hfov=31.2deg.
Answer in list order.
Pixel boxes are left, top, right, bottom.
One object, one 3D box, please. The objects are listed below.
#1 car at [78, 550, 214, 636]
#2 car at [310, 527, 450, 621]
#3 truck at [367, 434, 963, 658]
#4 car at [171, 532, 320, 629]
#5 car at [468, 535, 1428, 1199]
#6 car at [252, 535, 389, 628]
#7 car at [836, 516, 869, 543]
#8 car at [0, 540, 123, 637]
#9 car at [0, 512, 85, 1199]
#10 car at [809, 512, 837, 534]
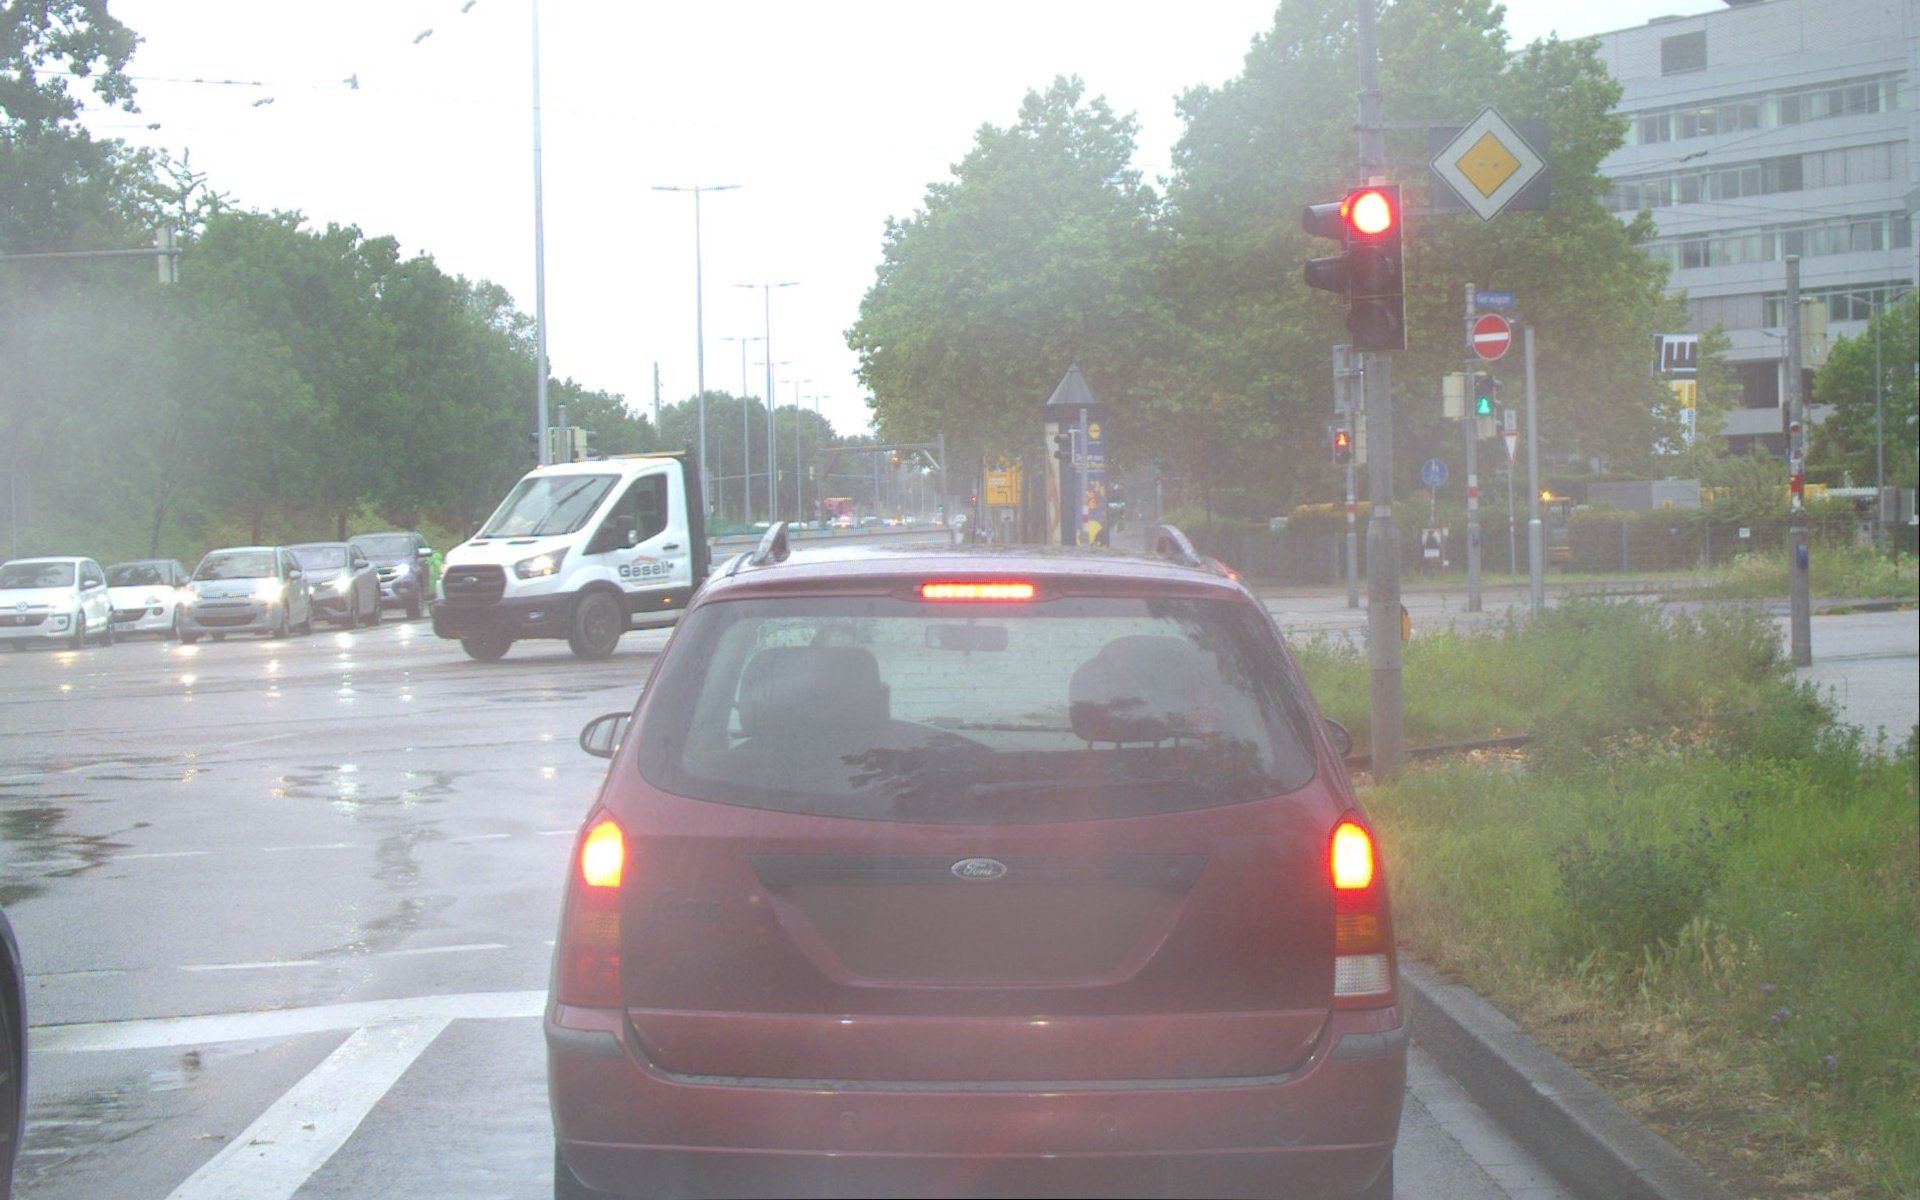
[{"bbox_3d":[-14.509,-0.152,61.435,1.590,1.399,3.823,-2,1,-2],"label":"car"},{"bbox_3d":[-11.983,-0.582,71.397,2.065,1.813,5.542,-2,1,-2],"label":"car"},{"bbox_3d":[-3.248,-0.669,39.482,2.480,2.357,6.850,0,2,44],"label":"truck"},{"bbox_3d":[-11.633,-0.345,56.150,1.638,1.468,3.965,-2,1,-1],"label":"car"},{"bbox_3d":[-0.072,0.602,7.802,1.642,1.460,3.733,1,1,-2],"label":"car"},{"bbox_3d":[-11.749,-0.355,63.432,1.762,1.580,4.814,-2,1,-2],"label":"car"},{"bbox_3d":[-6.331,-4.124,202.187,1.698,1.522,3.846,-1,1,1],"label":"car"},{"bbox_3d":[-14.632,-0.201,55.107,1.638,1.447,3.788,-2,1,-3],"label":"car"},{"bbox_3d":[-2.690,0.644,4.891,1.769,1.568,4.822,1,1,-2],"label":"car"},{"bbox_3d":[-9.733,-5.505,244.784,1.698,1.522,3.846,-1,1,1],"label":"car"}]
